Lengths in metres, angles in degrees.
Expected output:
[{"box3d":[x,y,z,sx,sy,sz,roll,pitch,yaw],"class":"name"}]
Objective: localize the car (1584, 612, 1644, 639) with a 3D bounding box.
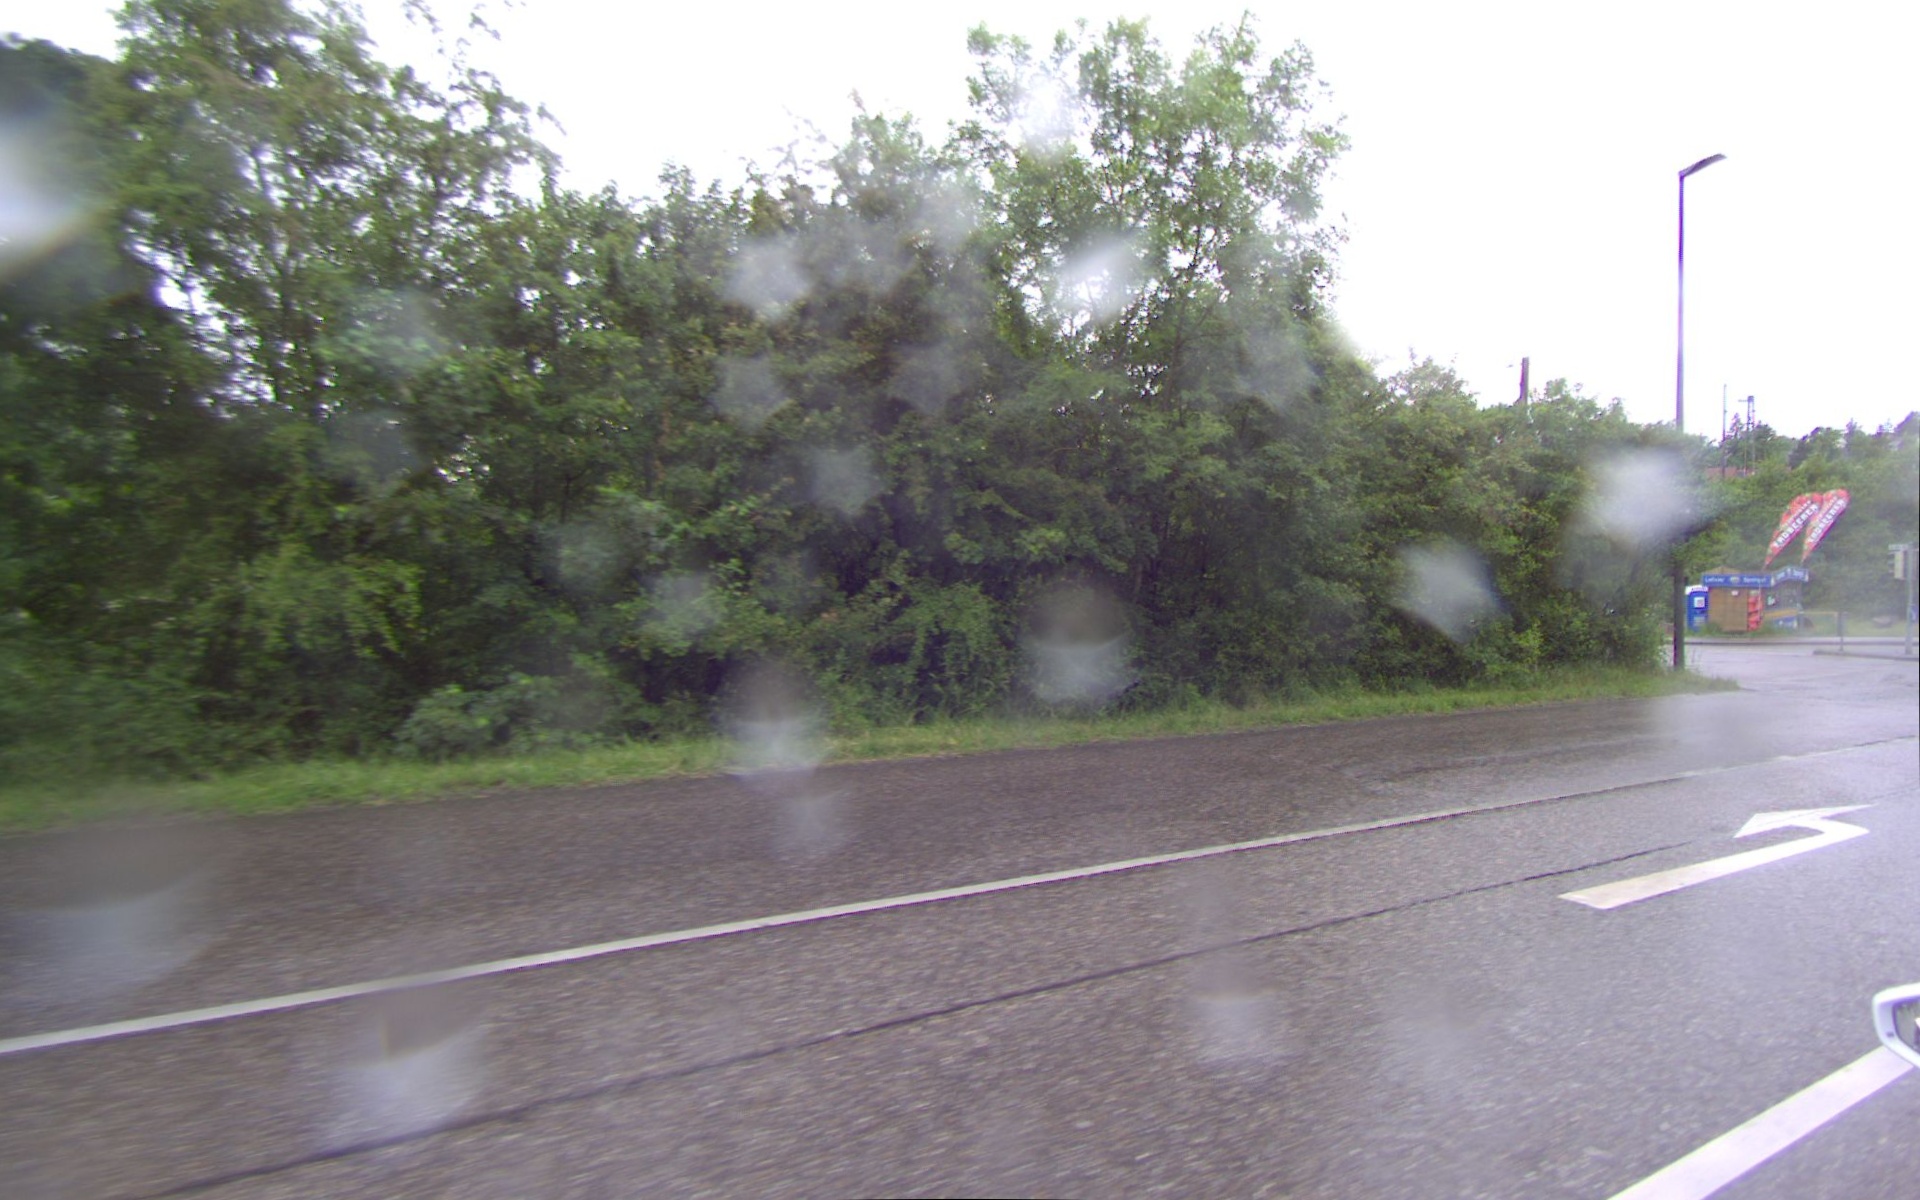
[{"box3d":[35.765,1.401,54.883,4.869,1.358,1.635,2,-1,-44],"class":"car"}]
